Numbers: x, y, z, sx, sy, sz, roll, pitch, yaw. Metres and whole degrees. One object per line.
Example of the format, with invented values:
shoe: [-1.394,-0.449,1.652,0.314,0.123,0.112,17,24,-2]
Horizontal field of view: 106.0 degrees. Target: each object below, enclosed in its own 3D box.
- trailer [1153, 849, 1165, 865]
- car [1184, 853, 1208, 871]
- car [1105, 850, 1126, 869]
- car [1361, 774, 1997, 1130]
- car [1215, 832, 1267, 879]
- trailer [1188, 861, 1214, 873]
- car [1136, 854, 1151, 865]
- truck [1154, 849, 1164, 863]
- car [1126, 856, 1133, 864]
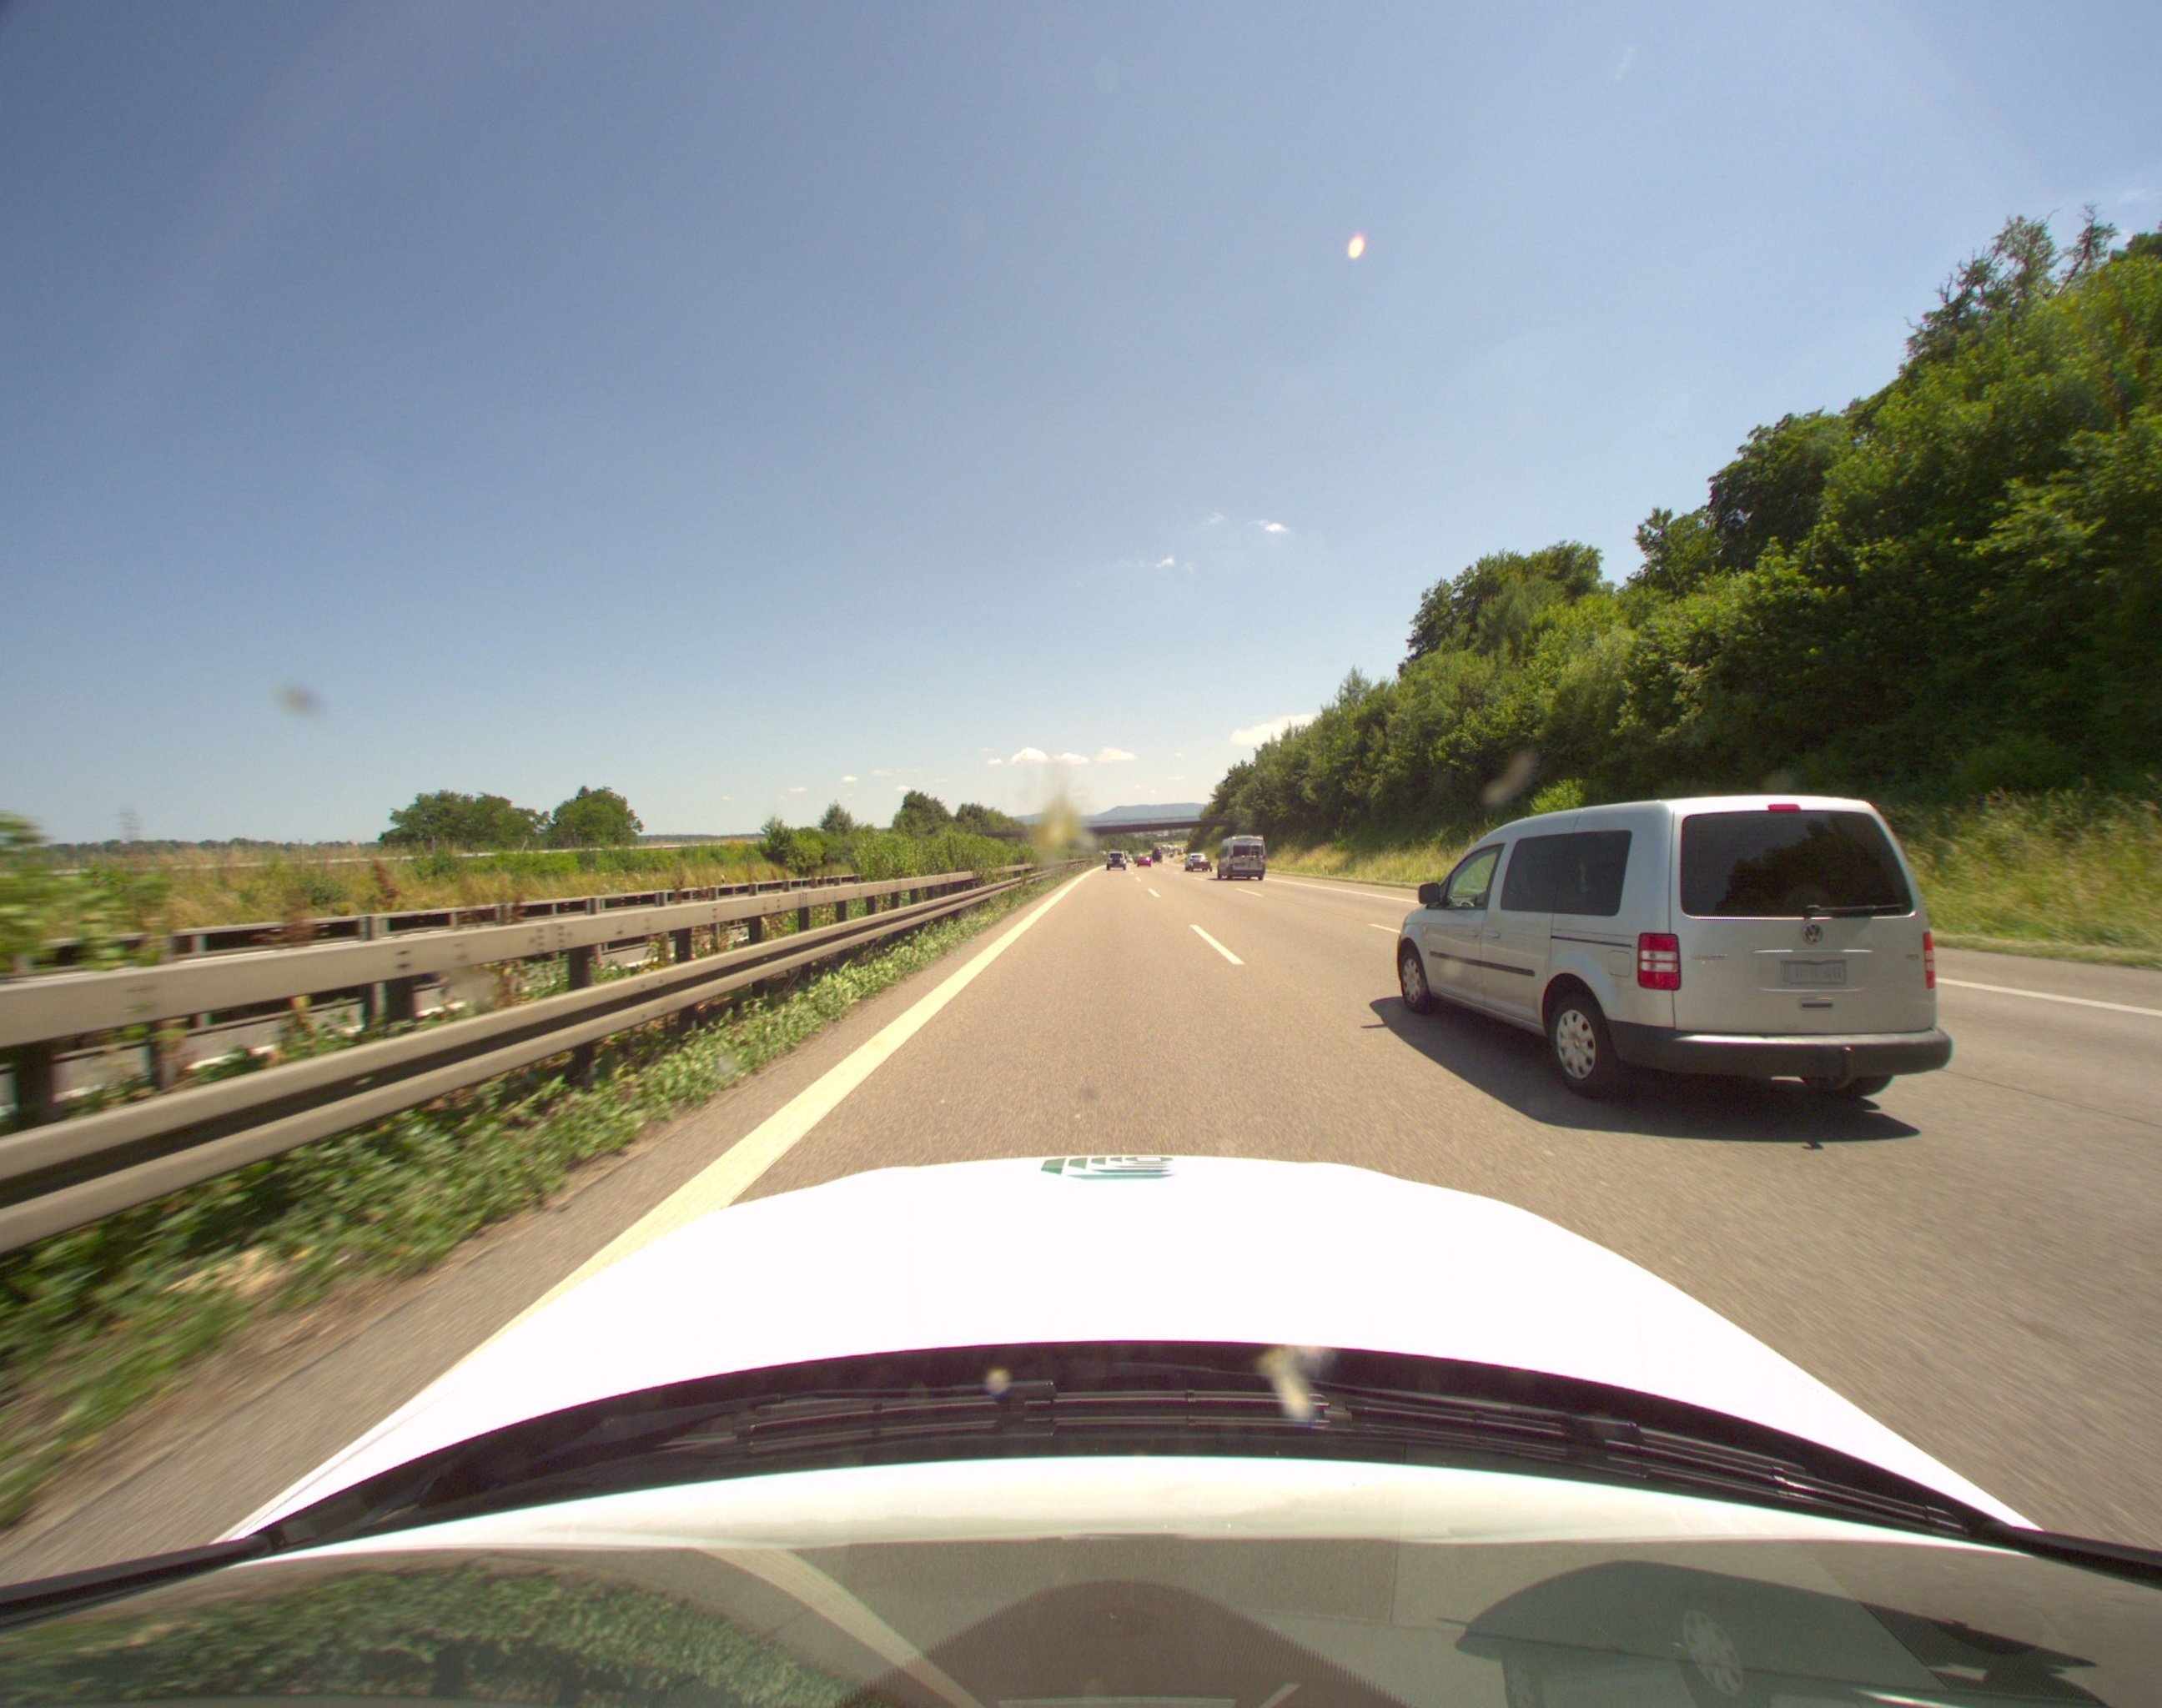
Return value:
trailer: [21.166,0.686,221.397,2.840,3.993,15.428,0,1,7]
car: [10.811,0.734,76.780,1.774,1.650,4.405,0,1,2]
car: [3.546,0.544,83.202,2.074,1.829,4.758,0,1,3]
car: [3.912,0.508,6.608,1.739,1.829,4.802,0,0,2]
car: [9.482,0.043,48.755,2.081,2.576,6.627,0,1,3]
trailer: [10.635,1.159,72.399,1.747,0.908,4.322,0,1,2]
car: [8.111,0.720,105.828,1.679,1.379,3.951,0,1,2]
truck: [22.048,0.618,229.063,2.740,3.852,6.656,0,1,6]
car: [12.972,1.634,217.388,1.691,2.013,3.825,0,1,2]
